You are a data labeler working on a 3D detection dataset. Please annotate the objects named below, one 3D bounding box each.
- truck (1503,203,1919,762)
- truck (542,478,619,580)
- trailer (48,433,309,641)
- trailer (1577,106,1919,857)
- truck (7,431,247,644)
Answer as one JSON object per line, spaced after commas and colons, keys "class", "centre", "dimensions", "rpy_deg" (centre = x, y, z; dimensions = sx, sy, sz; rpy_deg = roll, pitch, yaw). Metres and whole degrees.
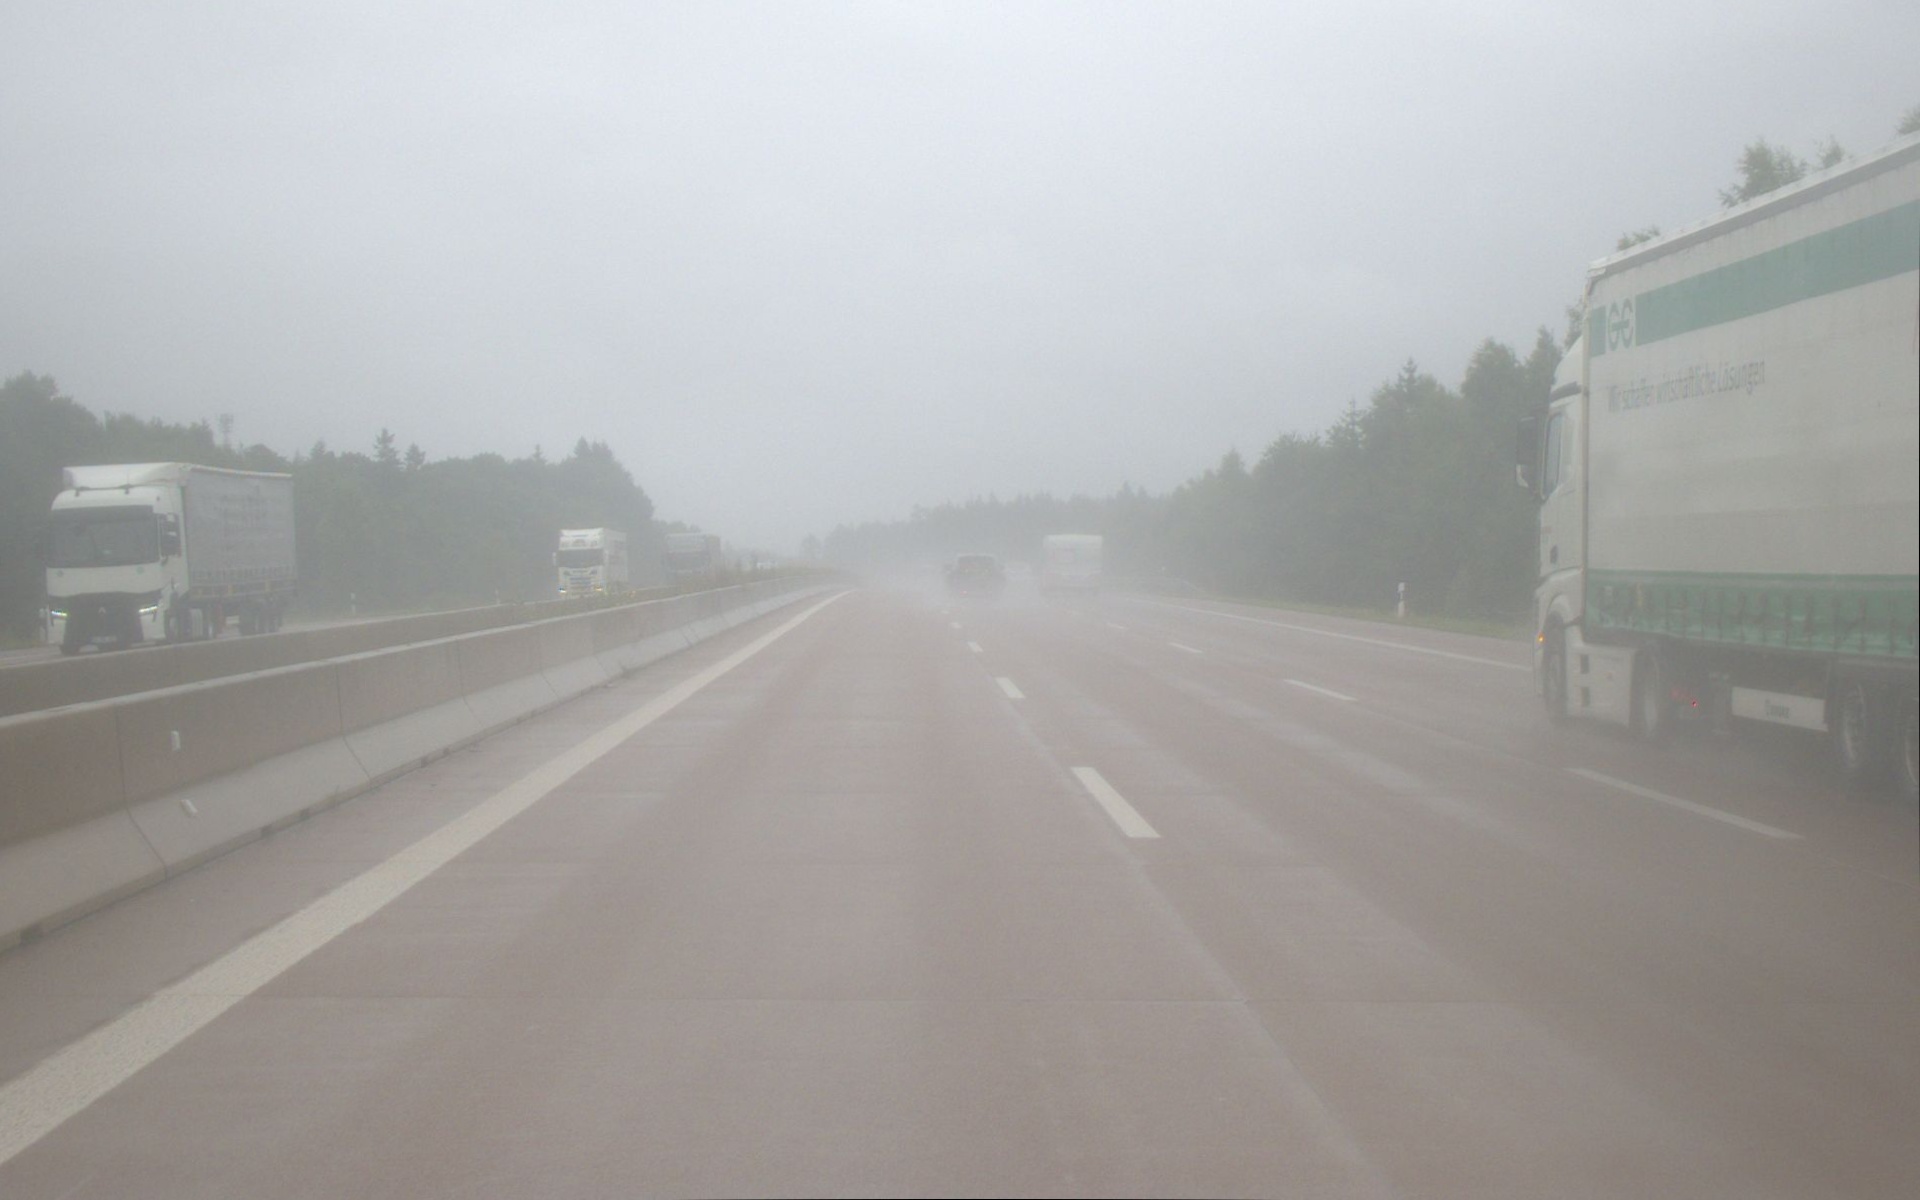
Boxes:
{"class": "truck", "centre": [6.585, -0.957, 28.685], "dimensions": [2.880, 4.092, 6.350], "rpy_deg": [-2, 1, -1]}
{"class": "truck", "centre": [-20.560, -3.797, 186.708], "dimensions": [3.419, 5.360, 8.158], "rpy_deg": [1, 0, -1]}
{"class": "trailer", "centre": [-18.073, -1.410, 80.549], "dimensions": [3.430, 4.451, 12.446], "rpy_deg": [1, 0, -1]}
{"class": "trailer", "centre": [6.752, -0.748, 21.977], "dimensions": [2.852, 4.217, 13.133], "rpy_deg": [-2, 1, -1]}
{"class": "truck", "centre": [-17.974, -1.327, 74.779], "dimensions": [3.419, 4.345, 7.948], "rpy_deg": [1, 0, -1]}
